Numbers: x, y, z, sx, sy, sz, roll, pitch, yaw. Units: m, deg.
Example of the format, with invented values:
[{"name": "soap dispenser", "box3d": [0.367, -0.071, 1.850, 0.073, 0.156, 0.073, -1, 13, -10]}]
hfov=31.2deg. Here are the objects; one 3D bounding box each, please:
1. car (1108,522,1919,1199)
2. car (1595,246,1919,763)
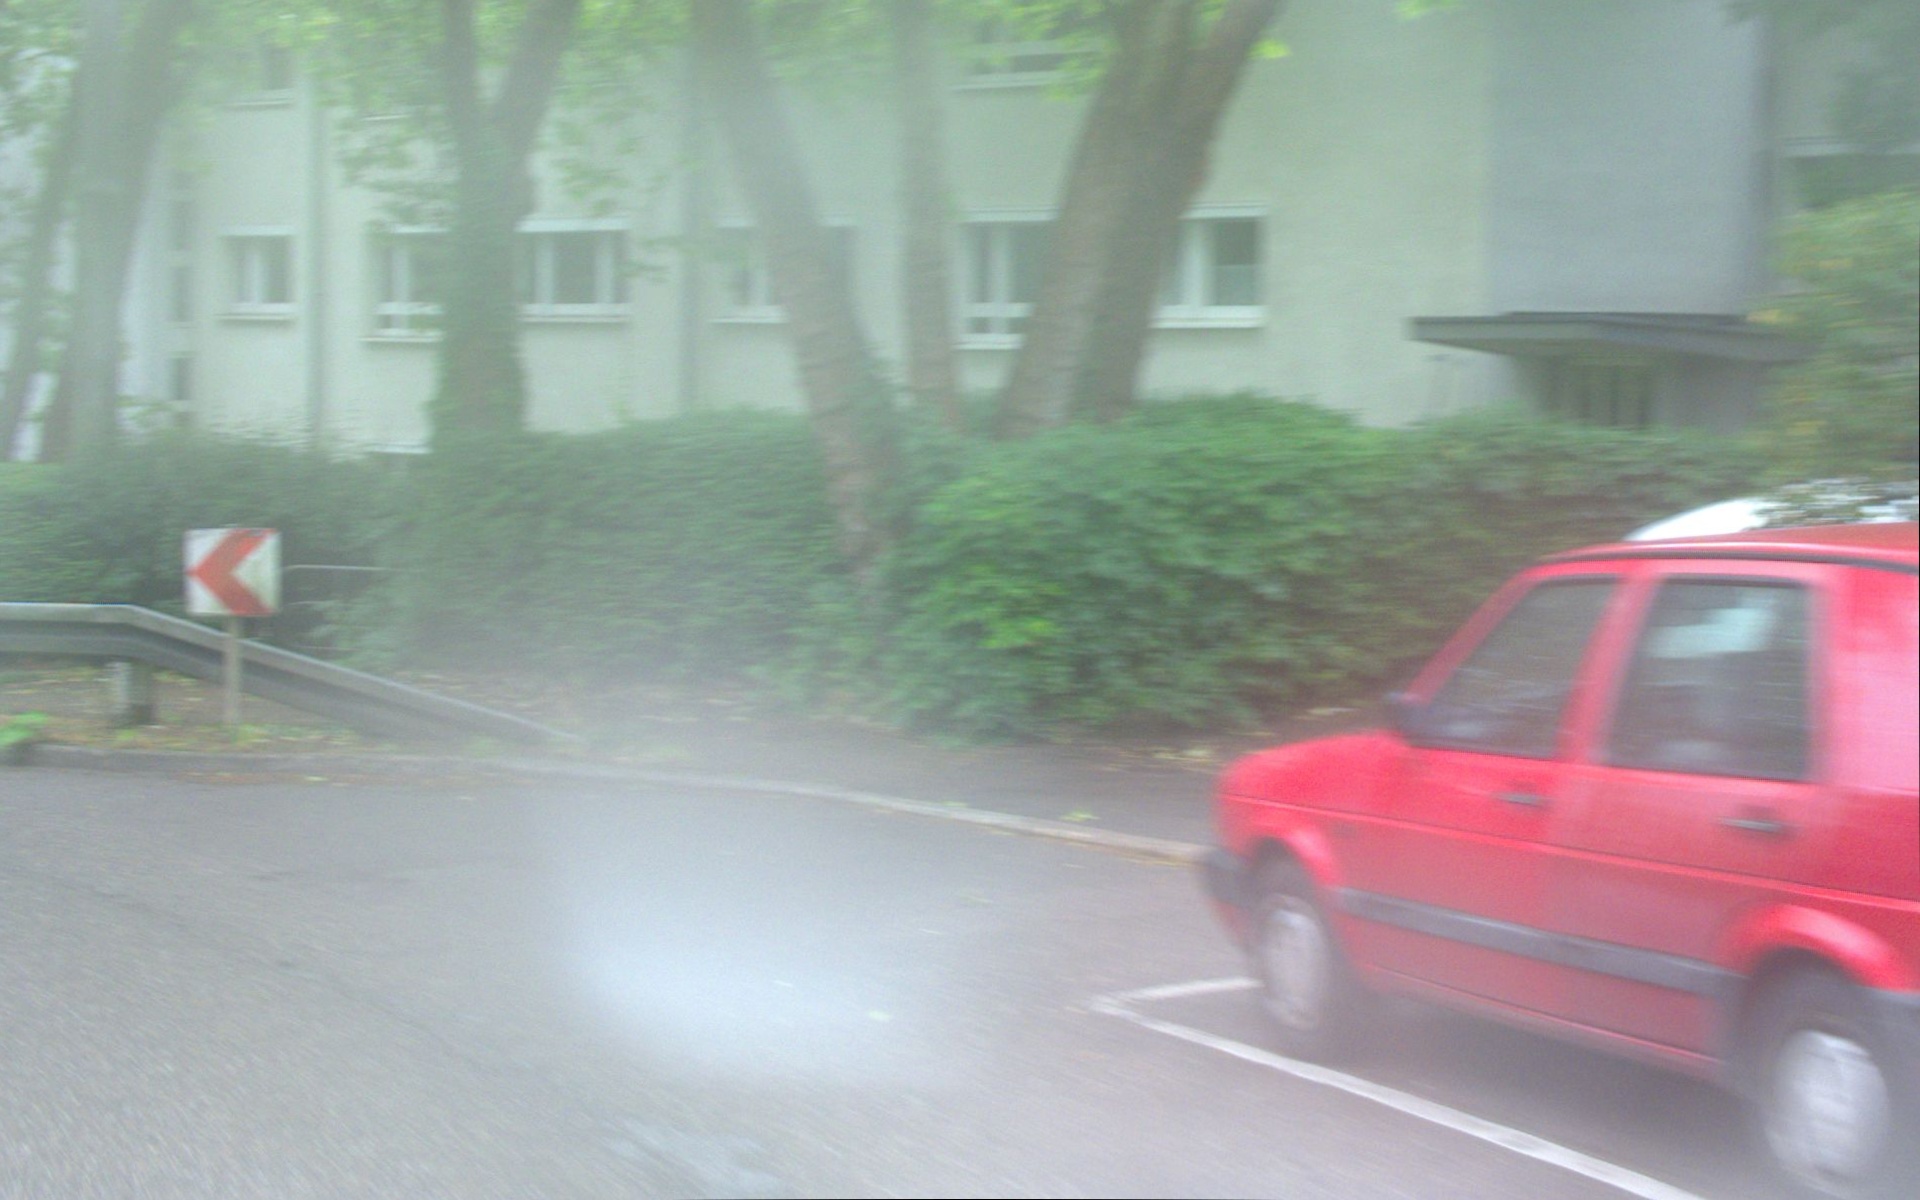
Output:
[{"name": "car", "box3d": [2.005, 0.516, 8.338, 1.779, 1.362, 4.197, -1, 0, -20]}, {"name": "car", "box3d": [5.008, -0.692, 14.143, 4.397, 1.836, 2.000, -10, 1, 9]}]
